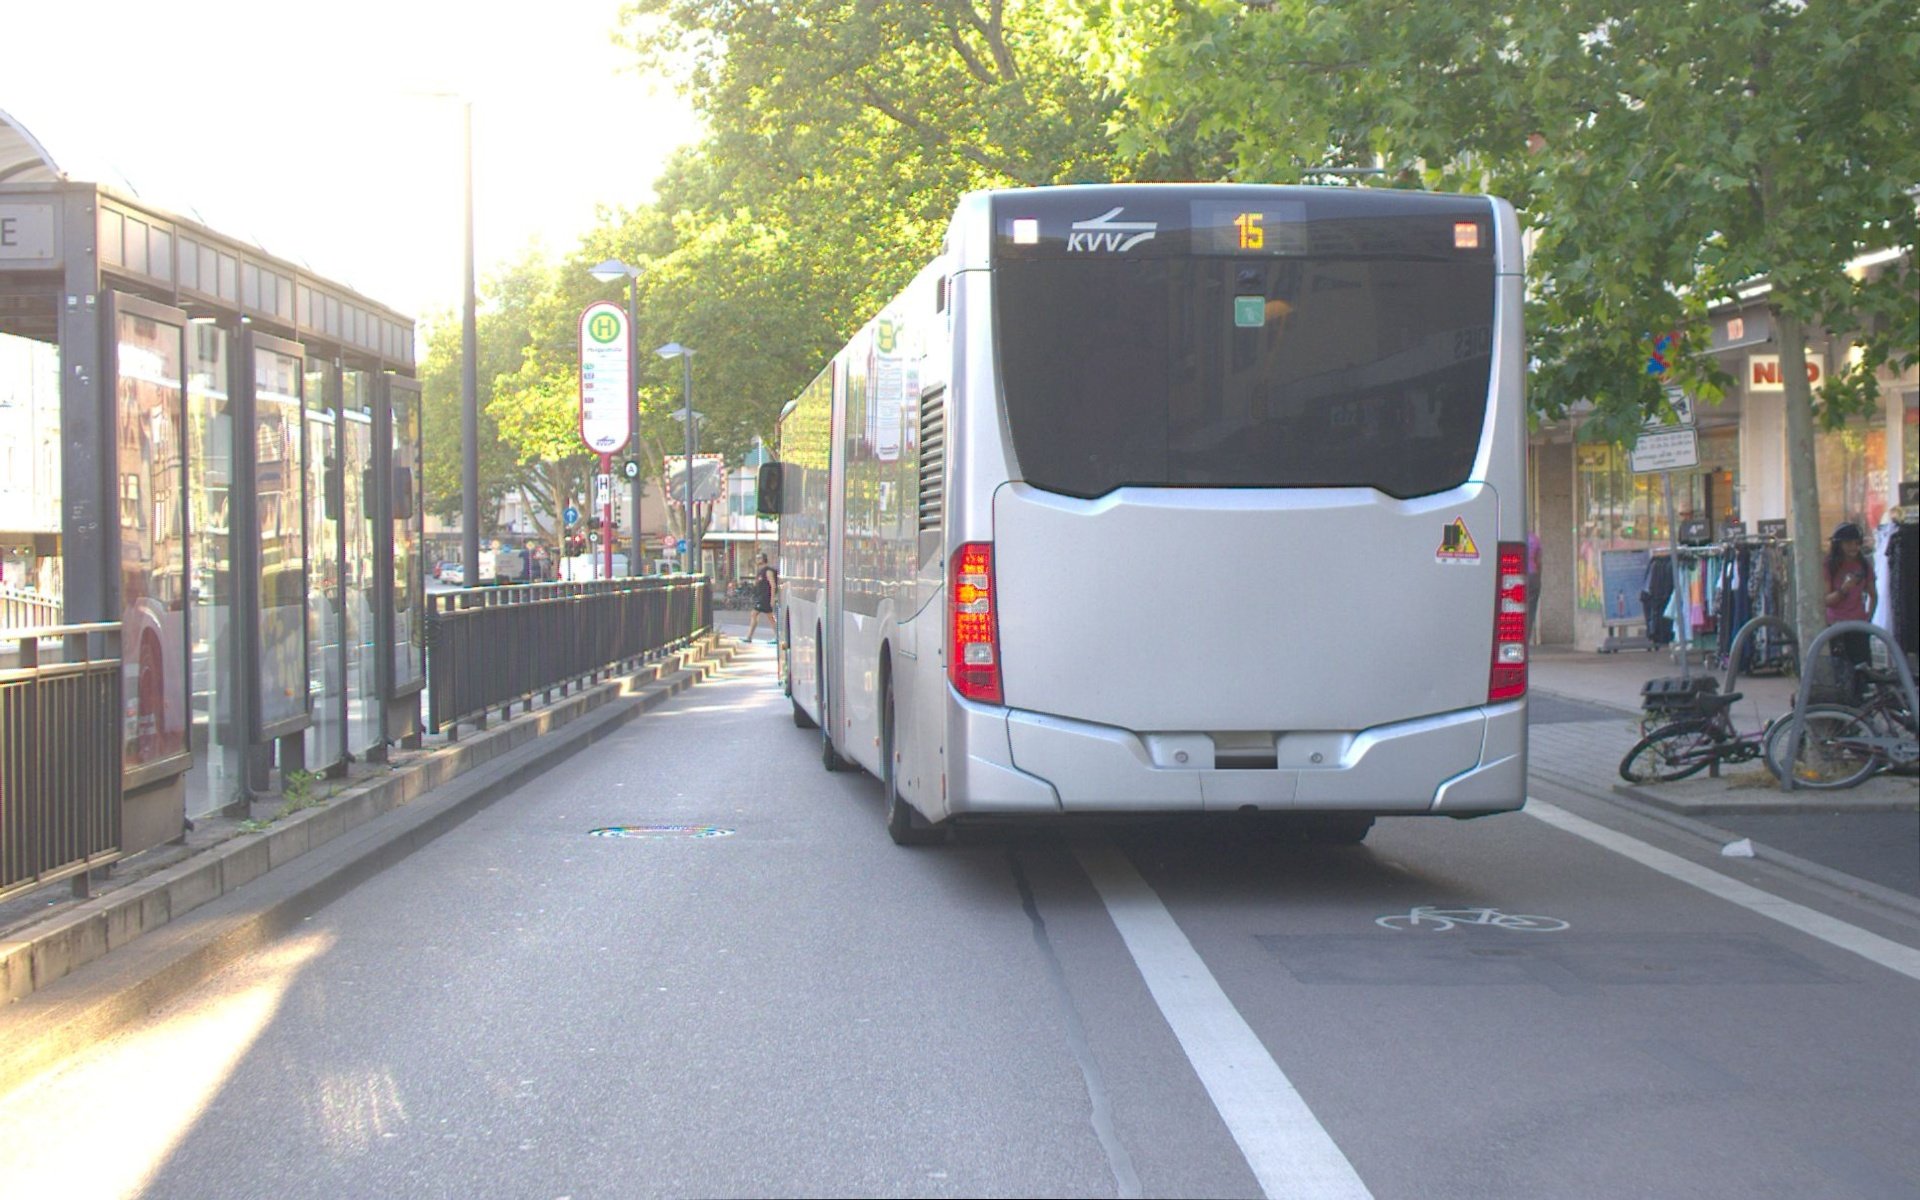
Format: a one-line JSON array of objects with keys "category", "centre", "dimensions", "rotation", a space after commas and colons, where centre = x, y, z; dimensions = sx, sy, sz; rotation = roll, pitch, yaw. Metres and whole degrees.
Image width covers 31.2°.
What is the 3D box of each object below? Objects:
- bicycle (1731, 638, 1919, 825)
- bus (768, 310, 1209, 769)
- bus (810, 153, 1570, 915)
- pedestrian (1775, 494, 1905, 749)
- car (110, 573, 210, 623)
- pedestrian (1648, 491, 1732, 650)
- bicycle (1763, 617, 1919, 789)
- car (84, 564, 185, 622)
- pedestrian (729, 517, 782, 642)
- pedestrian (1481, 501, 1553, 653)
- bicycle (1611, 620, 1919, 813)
[{"category": "bicycle", "centre": [5.392, 0.709, 19.471], "dimensions": [1.782, 0.939, 0.794], "rotation": [-4, 1, -5]}, {"category": "bus", "centre": [-0.050, -0.478, 28.070], "dimensions": [2.696, 3.107, 9.072], "rotation": [1, 1, -5]}, {"category": "bus", "centre": [0.760, -0.332, 18.872], "dimensions": [2.696, 3.107, 9.383], "rotation": [1, 1, -5]}, {"category": "pedestrian", "centre": [6.286, 0.147, 24.587], "dimensions": [0.723, 1.789, 0.766], "rotation": [0, 0, -1]}, {"category": "car", "centre": [-33.009, -0.092, 141.993], "dimensions": [3.986, 2.007, 1.963], "rotation": [0, 1, -12]}, {"category": "pedestrian", "centre": [8.510, -0.344, 40.097], "dimensions": [0.723, 1.789, 0.766], "rotation": [-3, 0, -1]}, {"category": "bicycle", "centre": [5.697, 0.613, 20.668], "dimensions": [1.690, 0.939, 0.653], "rotation": [0, -8, -35]}, {"category": "car", "centre": [-23.897, -0.224, 99.660], "dimensions": [1.993, 1.645, 4.000], "rotation": [0, 1, -1]}, {"category": "pedestrian", "centre": [-4.187, -0.427, 70.443], "dimensions": [0.889, 2.538, 1.163], "rotation": [0, 0, 6]}, {"category": "pedestrian", "centre": [6.635, -0.275, 40.961], "dimensions": [0.723, 1.789, 0.766], "rotation": [0, 0, -1]}, {"category": "bicycle", "centre": [5.043, 0.706, 21.059], "dimensions": [1.782, 0.631, 0.935], "rotation": [-4, -33, -31]}]
